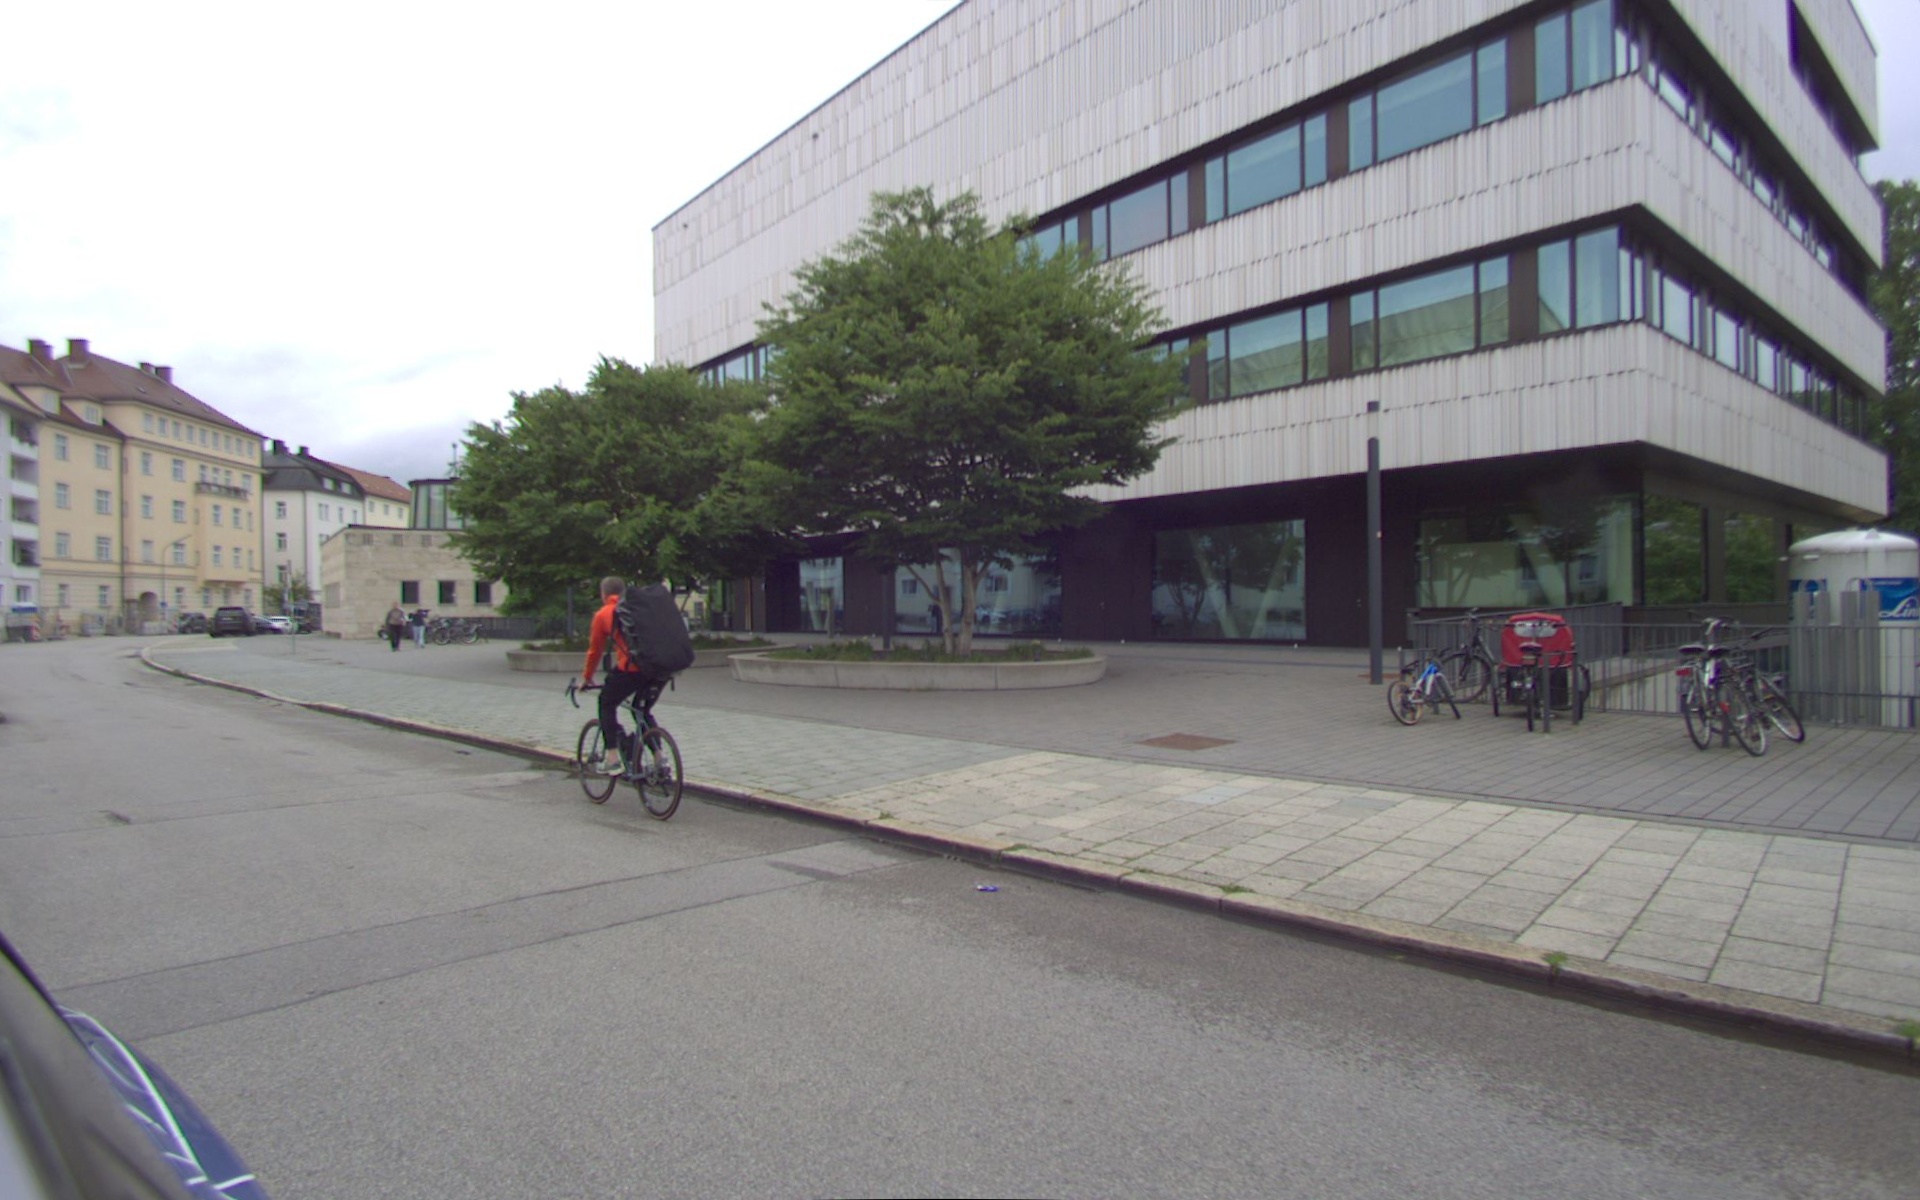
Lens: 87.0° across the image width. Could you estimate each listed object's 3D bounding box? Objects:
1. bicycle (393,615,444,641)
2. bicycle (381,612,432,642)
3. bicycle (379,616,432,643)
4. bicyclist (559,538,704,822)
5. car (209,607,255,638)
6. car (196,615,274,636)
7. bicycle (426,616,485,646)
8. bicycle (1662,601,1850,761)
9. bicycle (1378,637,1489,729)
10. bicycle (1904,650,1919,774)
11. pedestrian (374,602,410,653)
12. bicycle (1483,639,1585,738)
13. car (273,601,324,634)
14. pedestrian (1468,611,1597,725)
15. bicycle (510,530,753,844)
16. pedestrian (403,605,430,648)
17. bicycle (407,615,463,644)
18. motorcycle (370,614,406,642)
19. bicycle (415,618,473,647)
[{"bbox_3d":[-26.063,1.356,48.721,2.021,1.119,0.617,-3,0,-42],"label":"bicycle"},{"bbox_3d":[-27.404,1.351,50.154,2.072,1.362,0.614,-3,0,-42],"label":"bicycle"},{"bbox_3d":[-25.698,1.371,46.921,2.019,1.119,0.618,-3,0,-37],"label":"bicycle"},{"bbox_3d":[-2.526,0.597,7.786,0.757,2.029,0.769,4,-5,-41],"label":"bicyclist"},{"bbox_3d":[-44.058,1.382,61.357,1.966,1.785,4.828,-1,-1,-32],"label":"car"},{"bbox_3d":[-49.282,1.764,68.876,1.743,1.384,3.964,1,-1,31],"label":"car"},{"bbox_3d":[-20.645,1.272,41.459,2.022,1.119,0.617,-3,0,-44],"label":"bicycle"},{"bbox_3d":[7.334,0.683,9.291,2.077,1.237,0.788,-3,0,-37],"label":"bicycle"},{"bbox_3d":[5.387,0.906,11.476,1.697,0.868,0.440,-3,0,-40],"label":"bicycle"},{"bbox_3d":[8.221,0.843,8.144,1.653,0.923,0.596,-3,0,-37],"label":"bicycle"},{"bbox_3d":[-20.580,0.980,36.681,1.013,1.796,0.779,-1,1,39],"label":"pedestrian"},{"bbox_3d":[5.928,0.885,10.420,1.355,0.868,0.440,-3,0,-40],"label":"bicycle"},{"bbox_3d":[-54.861,1.456,84.014,2.114,2.594,6.231,0,-1,-20],"label":"car"},{"bbox_3d":[6.412,0.741,11.354,0.709,1.171,1.042,-3,0,-42],"label":"pedestrian"},{"bbox_3d":[-2.648,0.616,7.868,0.739,2.029,2.852,2,-3,-41],"label":"bicycle"},{"bbox_3d":[-20.978,1.032,39.074,0.602,1.613,0.639,-3,0,24],"label":"pedestrian"},{"bbox_3d":[-22.669,1.283,43.723,2.022,1.119,0.617,-3,0,-44],"label":"bicycle"},{"bbox_3d":[-30.227,1.477,53.457,1.544,1.416,0.516,-3,0,-39],"label":"motorcycle"},{"bbox_3d":[-21.637,1.352,42.459,2.022,1.119,0.617,-3,0,-44],"label":"bicycle"}]
